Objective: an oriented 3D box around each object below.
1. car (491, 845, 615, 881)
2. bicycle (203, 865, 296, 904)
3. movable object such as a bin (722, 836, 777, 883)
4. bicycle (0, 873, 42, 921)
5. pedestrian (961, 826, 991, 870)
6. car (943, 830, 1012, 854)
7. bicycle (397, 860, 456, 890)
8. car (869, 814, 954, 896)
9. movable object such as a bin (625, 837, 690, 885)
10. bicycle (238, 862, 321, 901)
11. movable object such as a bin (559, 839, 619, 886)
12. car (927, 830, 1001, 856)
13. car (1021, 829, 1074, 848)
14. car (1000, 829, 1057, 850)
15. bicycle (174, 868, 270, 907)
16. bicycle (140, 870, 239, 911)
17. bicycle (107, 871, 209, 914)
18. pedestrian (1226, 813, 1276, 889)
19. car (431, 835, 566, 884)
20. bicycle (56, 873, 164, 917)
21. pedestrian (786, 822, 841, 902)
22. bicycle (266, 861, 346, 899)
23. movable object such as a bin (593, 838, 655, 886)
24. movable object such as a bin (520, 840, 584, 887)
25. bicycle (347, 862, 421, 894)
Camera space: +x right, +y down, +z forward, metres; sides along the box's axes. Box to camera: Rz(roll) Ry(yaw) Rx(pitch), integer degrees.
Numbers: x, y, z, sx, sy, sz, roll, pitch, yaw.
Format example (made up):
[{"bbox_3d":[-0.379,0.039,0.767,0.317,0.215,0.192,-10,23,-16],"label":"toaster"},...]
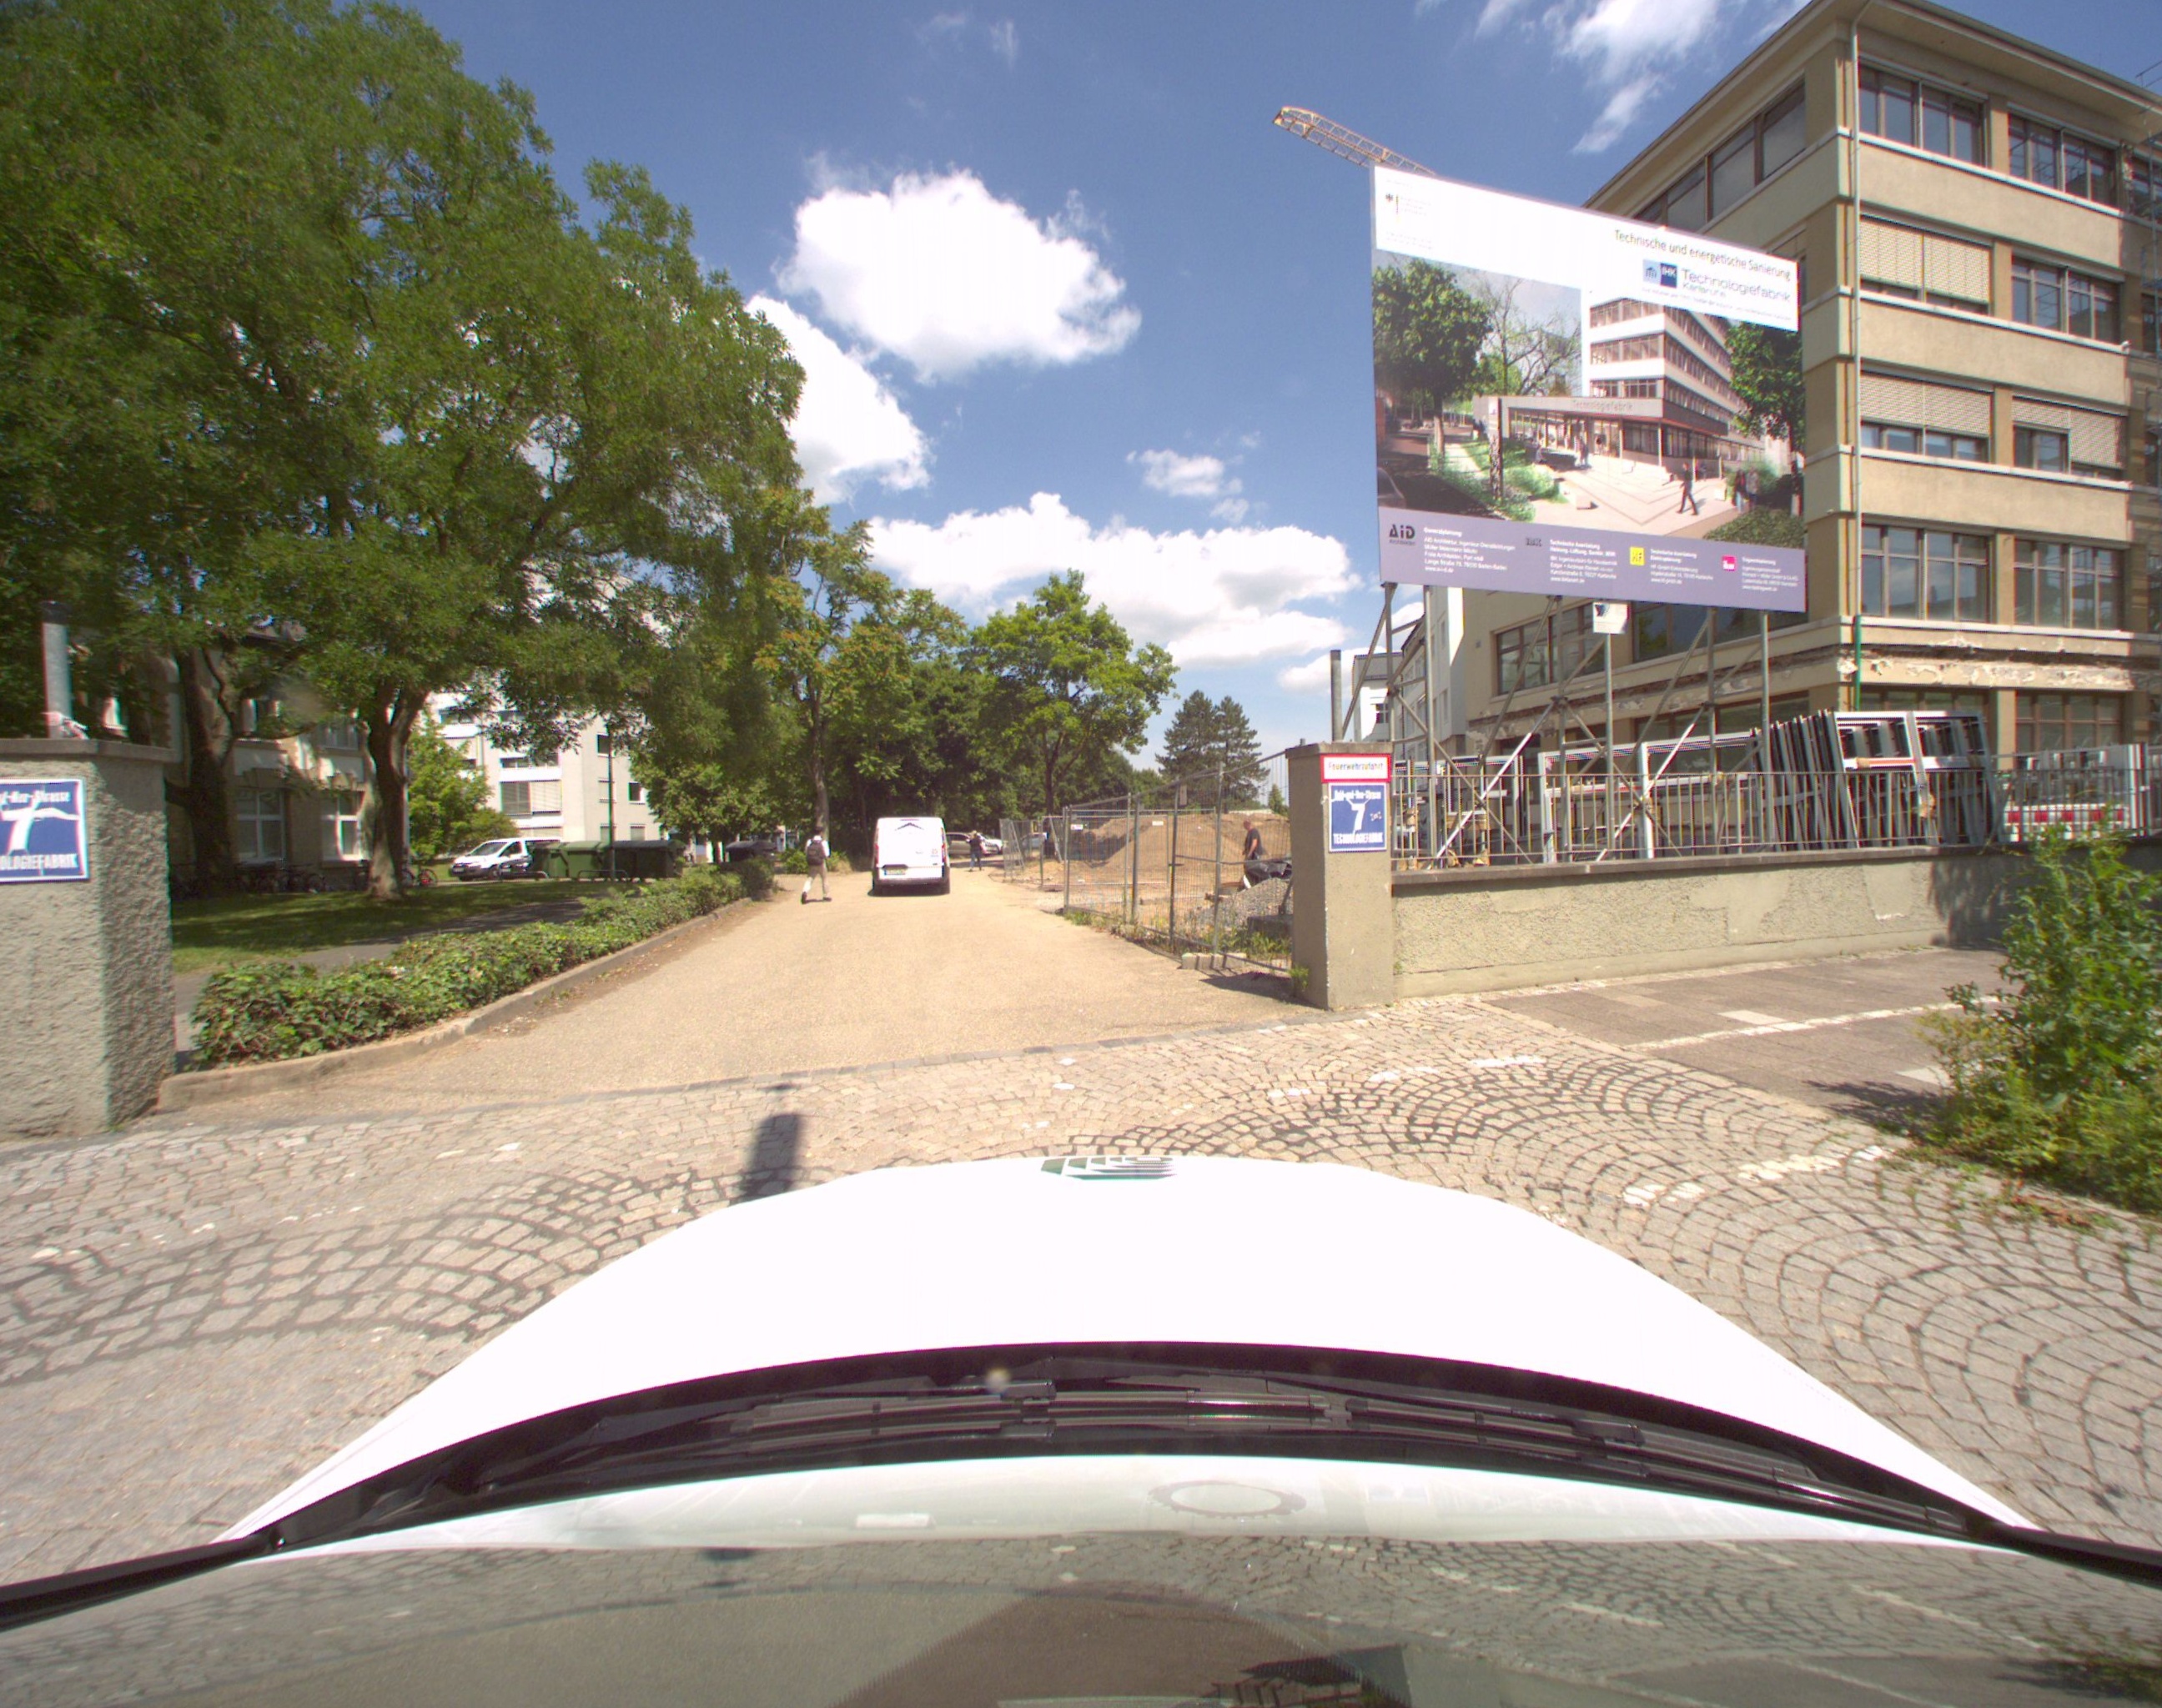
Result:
[{"bbox_3d":[-23.527,0.363,36.530,1.815,1.352,4.644,-1,2,13],"label":"car"},{"bbox_3d":[-23.492,0.863,23.018,2.239,1.011,0.609,-1,1,9],"label":"bicycle"},{"bbox_3d":[-10.345,0.163,25.426,1.145,1.394,1.123,-1,2,36],"label":"movable object such as a bin"},{"bbox_3d":[-24.566,0.976,18.194,2.239,1.011,0.609,-1,1,9],"label":"bicycle"},{"bbox_3d":[-4.138,-0.258,32.037,1.033,1.649,1.048,-2,2,-3],"label":"pedestrian"},{"bbox_3d":[-7.293,-0.831,57.522,4.475,1.531,1.732,-1,1,12],"label":"car"},{"bbox_3d":[-22.163,0.718,27.563,1.711,0.958,0.616,-1,1,14],"label":"bicycle"},{"bbox_3d":[-4.642,-0.034,22.344,1.974,1.946,4.563,-2,2,-12],"label":"car"},{"bbox_3d":[-13.739,0.214,26.466,1.312,1.479,1.211,-2,2,10],"label":"movable object such as a bin"},{"bbox_3d":[-23.396,0.799,23.773,2.236,1.082,0.610,-1,1,14],"label":"bicycle"},{"bbox_3d":[-16.376,0.274,27.127,1.249,1.479,1.052,-2,2,13],"label":"movable object such as a bin"},{"bbox_3d":[-7.908,-0.735,55.053,4.474,1.609,2.007,-1,-1,13],"label":"car"},{"bbox_3d":[-3.064,-1.399,75.309,4.474,1.597,1.944,-1,1,13],"label":"car"},{"bbox_3d":[-4.502,-1.241,69.849,4.475,1.597,1.732,-1,2,12],"label":"car"},{"bbox_3d":[-23.590,0.920,22.367,2.239,1.011,0.609,-1,1,9],"label":"bicycle"},{"bbox_3d":[-23.762,0.970,21.716,2.239,1.011,0.609,-1,1,9],"label":"bicycle"},{"bbox_3d":[-23.883,0.990,21.075,2.239,1.011,0.609,-1,1,9],"label":"bicycle"},{"bbox_3d":[4.203,-0.087,20.243,0.963,1.819,0.869,-2,1,-5],"label":"pedestrian"},{"bbox_3d":[-26.561,0.199,37.365,1.979,2.013,4.793,-2,1,13],"label":"car"},{"bbox_3d":[-24.073,1.017,20.198,2.239,1.011,0.609,-1,1,9],"label":"bicycle"},{"bbox_3d":[-6.072,0.150,18.524,0.872,1.729,1.079,-2,2,-4],"label":"pedestrian"},{"bbox_3d":[-23.204,0.770,24.390,2.236,1.082,0.610,-1,1,14],"label":"bicycle"},{"bbox_3d":[-15.022,0.242,26.810,1.351,1.479,1.096,-2,2,0],"label":"movable object such as a bin"},{"bbox_3d":[-17.817,0.309,27.451,1.395,1.479,1.052,-2,2,13],"label":"movable object such as a bin"},{"bbox_3d":[-22.662,0.787,26.475,2.236,0.958,0.610,-1,1,14],"label":"bicycle"}]
